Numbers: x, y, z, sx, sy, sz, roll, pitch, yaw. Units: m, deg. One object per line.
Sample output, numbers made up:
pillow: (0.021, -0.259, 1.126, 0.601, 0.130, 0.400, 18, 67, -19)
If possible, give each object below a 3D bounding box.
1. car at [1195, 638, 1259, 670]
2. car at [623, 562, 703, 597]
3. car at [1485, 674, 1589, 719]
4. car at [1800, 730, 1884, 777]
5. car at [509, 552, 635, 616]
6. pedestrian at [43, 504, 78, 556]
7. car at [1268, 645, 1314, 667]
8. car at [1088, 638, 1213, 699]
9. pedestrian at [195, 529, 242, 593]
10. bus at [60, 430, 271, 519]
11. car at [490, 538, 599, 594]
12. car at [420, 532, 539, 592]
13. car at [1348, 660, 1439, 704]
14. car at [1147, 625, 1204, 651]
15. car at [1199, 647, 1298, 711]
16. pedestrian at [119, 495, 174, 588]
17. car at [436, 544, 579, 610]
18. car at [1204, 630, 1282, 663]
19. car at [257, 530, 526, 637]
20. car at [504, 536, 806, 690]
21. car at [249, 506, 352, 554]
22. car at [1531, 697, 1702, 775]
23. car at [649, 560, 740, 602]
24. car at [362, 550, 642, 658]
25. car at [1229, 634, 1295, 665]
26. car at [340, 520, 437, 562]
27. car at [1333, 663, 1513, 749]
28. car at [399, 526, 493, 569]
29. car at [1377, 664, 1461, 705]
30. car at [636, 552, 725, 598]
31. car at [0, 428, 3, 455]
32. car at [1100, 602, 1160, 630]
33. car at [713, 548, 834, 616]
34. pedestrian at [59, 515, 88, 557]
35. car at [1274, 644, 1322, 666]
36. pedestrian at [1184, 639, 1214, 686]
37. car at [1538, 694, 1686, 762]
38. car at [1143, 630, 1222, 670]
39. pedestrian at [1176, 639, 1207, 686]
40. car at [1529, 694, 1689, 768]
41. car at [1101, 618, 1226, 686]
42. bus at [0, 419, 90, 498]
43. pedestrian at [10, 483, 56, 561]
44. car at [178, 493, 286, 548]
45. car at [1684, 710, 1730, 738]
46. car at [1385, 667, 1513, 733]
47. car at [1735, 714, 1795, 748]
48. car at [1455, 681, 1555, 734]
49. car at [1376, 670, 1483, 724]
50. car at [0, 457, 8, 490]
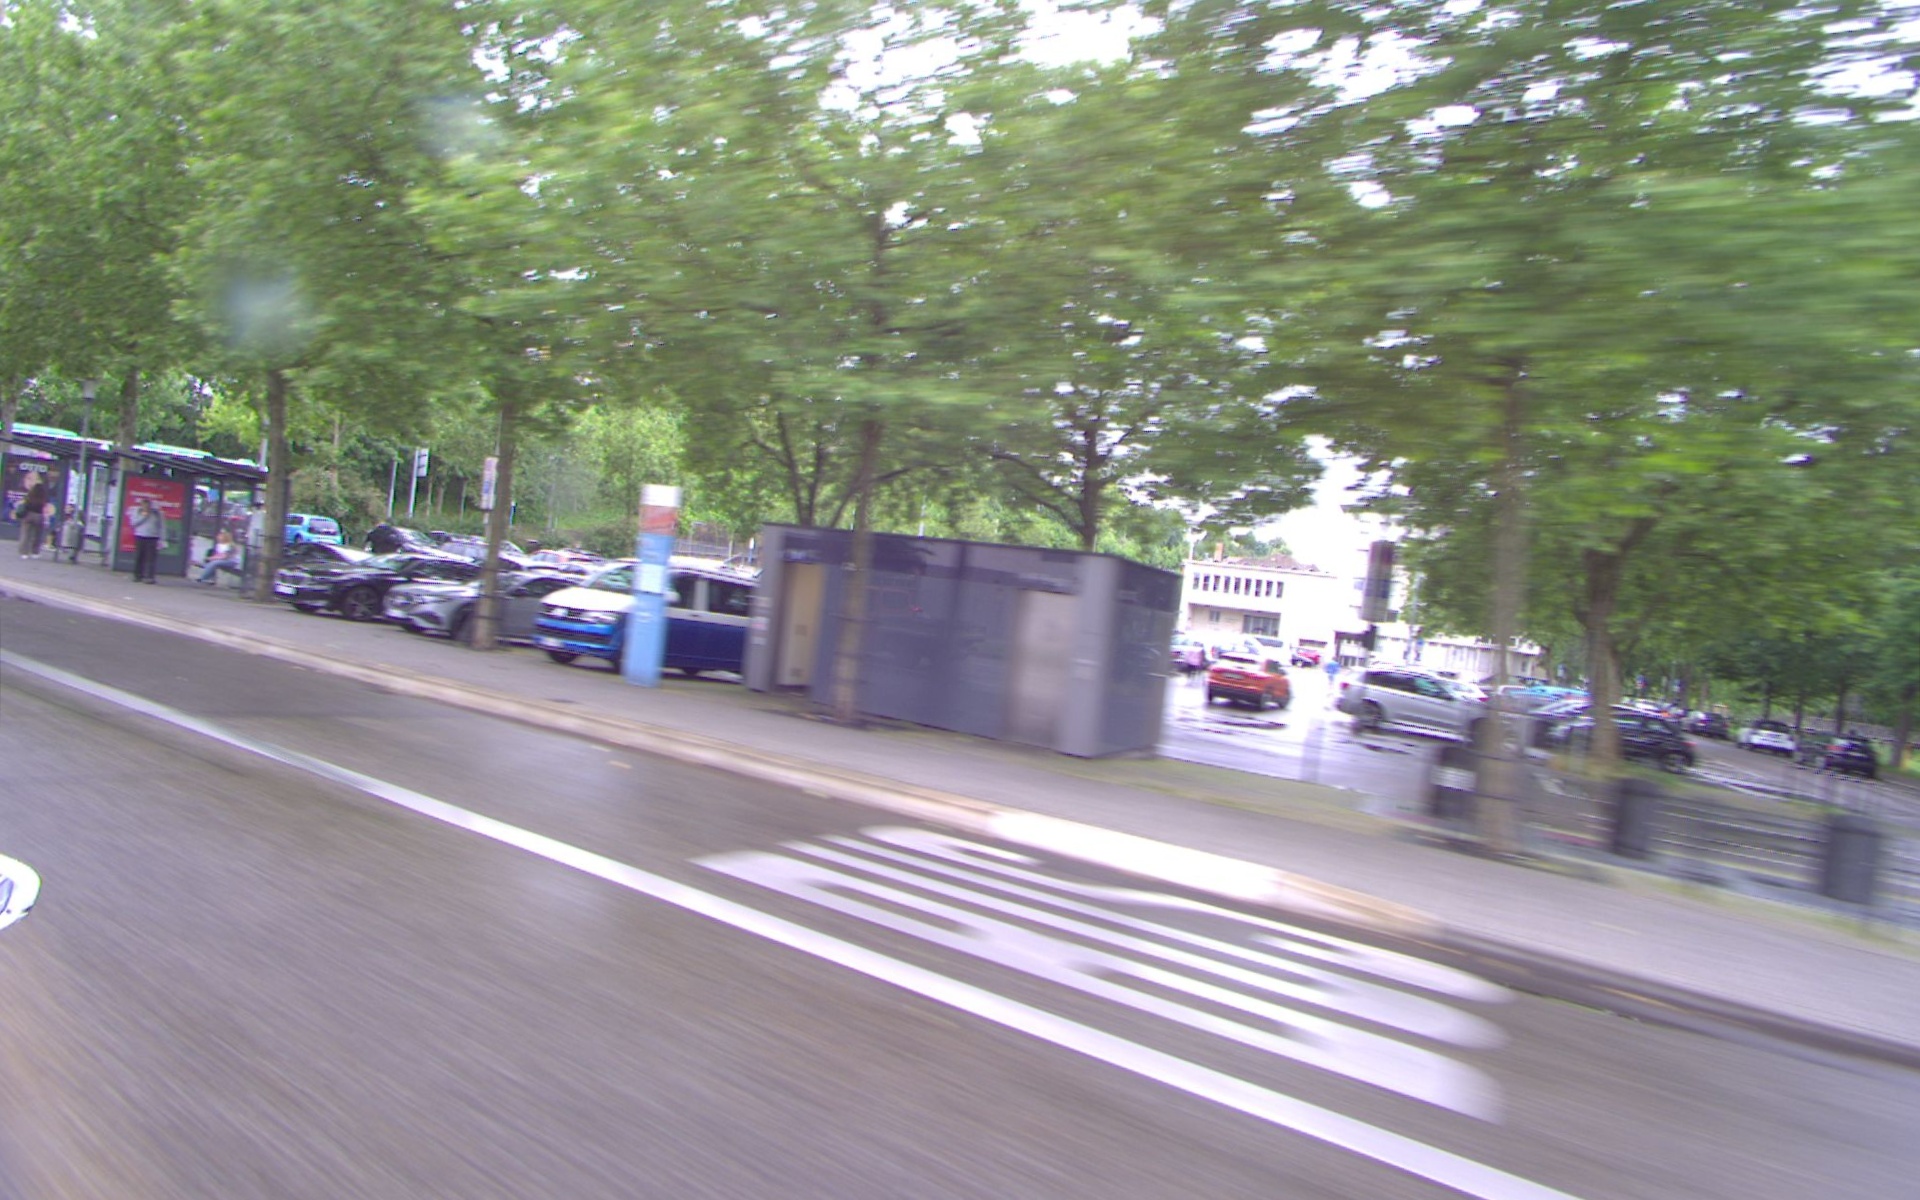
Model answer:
car: (16.148, 3.288, 60.875, 3.530, 1.441, 1.641, 7, -1, 18)
car: (-17.178, -1.185, 58.158, 4.187, 1.458, 1.854, 8, 1, 27)
car: (26.777, 4.459, 46.828, 3.975, 1.441, 1.639, 7, -1, 27)
car: (34.418, 5.976, 39.359, 1.693, 1.291, 3.591, 7, 0, 31)
car: (-13.361, -0.555, 34.607, 3.929, 1.611, 1.760, 9, 2, 27)
pedestrian: (-23.869, -1.861, 26.707, 0.395, 1.287, 0.499, 9, 2, 30)
car: (27.129, 4.595, 82.349, 3.270, 1.283, 1.534, 7, -1, 27)
car: (7.844, 2.775, 41.375, 4.547, 1.692, 1.971, 9, 2, 24)
pedestrian: (-16.814, -0.880, 22.809, 0.617, 1.338, 0.630, 7, 0, 42)
bus: (-43.399, -6.785, 55.344, 2.642, 3.220, 8.545, 10, 1, 30)
car: (-16.518, -1.355, 39.966, 3.929, 1.611, 1.760, 9, 2, 27)
car: (-17.857, -1.424, 37.349, 4.103, 1.611, 1.760, 9, 2, 27)
car: (19.618, 3.707, 45.536, 3.535, 1.441, 1.639, 7, -1, 27)
car: (14.475, 2.560, 67.675, 3.299, 1.252, 1.529, 9, 2, 31)
car: (8.864, 2.391, 30.711, 1.724, 1.601, 3.991, 7, 0, 32)
pedestrian: (-17.479, -1.253, 21.629, 0.728, 1.864, 0.750, 7, 0, -37)
car: (-14.597, -0.756, 32.422, 4.366, 1.459, 1.736, 9, 2, 27)
car: (17.748, 2.897, 63.113, 4.429, 1.441, 1.640, 7, -1, 26)
car: (-11.581, -0.274, 20.840, 1.832, 1.501, 4.412, 7, -3, 30)
car: (-5.100, 0.345, 17.624, 1.918, 1.964, 4.849, 7, -3, 30)
car: (-28.645, -3.048, 43.674, 4.187, 1.458, 1.854, 8, 1, 27)
car: (18.753, 3.862, 28.969, 3.814, 1.525, 1.780, 7, -1, 28)
car: (-11.317, -0.806, 42.866, 3.569, 1.252, 1.530, 9, 2, 27)
car: (-8.853, 0.172, 19.943, 1.831, 1.420, 4.751, 7, -3, 30)
car: (20.296, 3.318, 67.610, 3.859, 1.565, 1.640, 7, -1, 26)
car: (-26.680, -2.751, 46.953, 4.187, 1.372, 1.854, 8, 1, 27)
car: (13.157, 2.959, 28.707, 4.367, 1.708, 1.781, 7, -1, 27)
car: (-24.896, -2.549, 48.709, 4.187, 1.499, 1.854, 8, 1, 27)
car: (22.381, 4.120, 49.101, 3.535, 1.441, 1.639, 7, -1, 27)
car: (-13.410, -1.199, 48.242, 3.933, 1.586, 1.758, 9, 2, 31)
car: (-11.508, -0.850, 9.516, 5.449, 2.114, 2.105, 7, -1, 32)
car: (10.750, 1.024, 63.707, 3.299, 1.252, 1.529, 9, 2, 31)
car: (-8.468, -0.817, 45.583, 4.922, 2.350, 1.971, 9, 3, 24)
pedestrian: (-23.422, -1.686, 26.580, 0.364, 1.048, 0.401, 9, 2, 30)
car: (29.614, 4.835, 88.162, 3.605, 1.441, 1.639, 7, -1, 27)
pedestrian: (8.876, 2.311, 37.357, 0.727, 1.613, 0.575, 9, 3, 28)
car: (21.428, 4.162, 33.263, 3.814, 1.565, 1.716, 7, -1, 28)
car: (11.399, 2.545, 51.566, 3.535, 1.535, 1.639, 7, -1, 27)
pedestrian: (8.409, 2.264, 36.541, 0.727, 1.613, 0.575, 9, 3, 28)
car: (19.784, 3.970, 30.877, 3.814, 1.565, 1.780, 7, -1, 28)
car: (8.886, 2.236, 44.026, 4.796, 2.183, 1.971, 9, 3, 24)
bus: (-47.784, -7.305, 47.476, 2.658, 3.257, 9.644, 10, 1, 29)
pedestrian: (-21.343, -1.798, 23.172, 0.535, 1.717, 0.550, 7, 2, -31)
car: (-29.982, -3.282, 41.436, 4.187, 1.633, 1.803, 8, 1, 27)
car: (43.222, 7.134, 58.266, 1.559, 1.290, 3.593, 7, -1, 30)
car: (17.350, 3.519, 35.790, 3.813, 1.708, 1.781, 7, -1, 27)
car: (38.439, 6.238, 48.103, 1.608, 1.290, 3.593, 7, -1, 31)
car: (23.422, 4.591, 43.356, 3.535, 1.708, 1.781, 7, -1, 27)
car: (19.685, 4.050, 42.219, 3.813, 1.627, 1.781, 7, -1, 27)
car: (-45.484, -6.022, 45.190, 1.562, 1.469, 3.564, 10, 1, 28)
